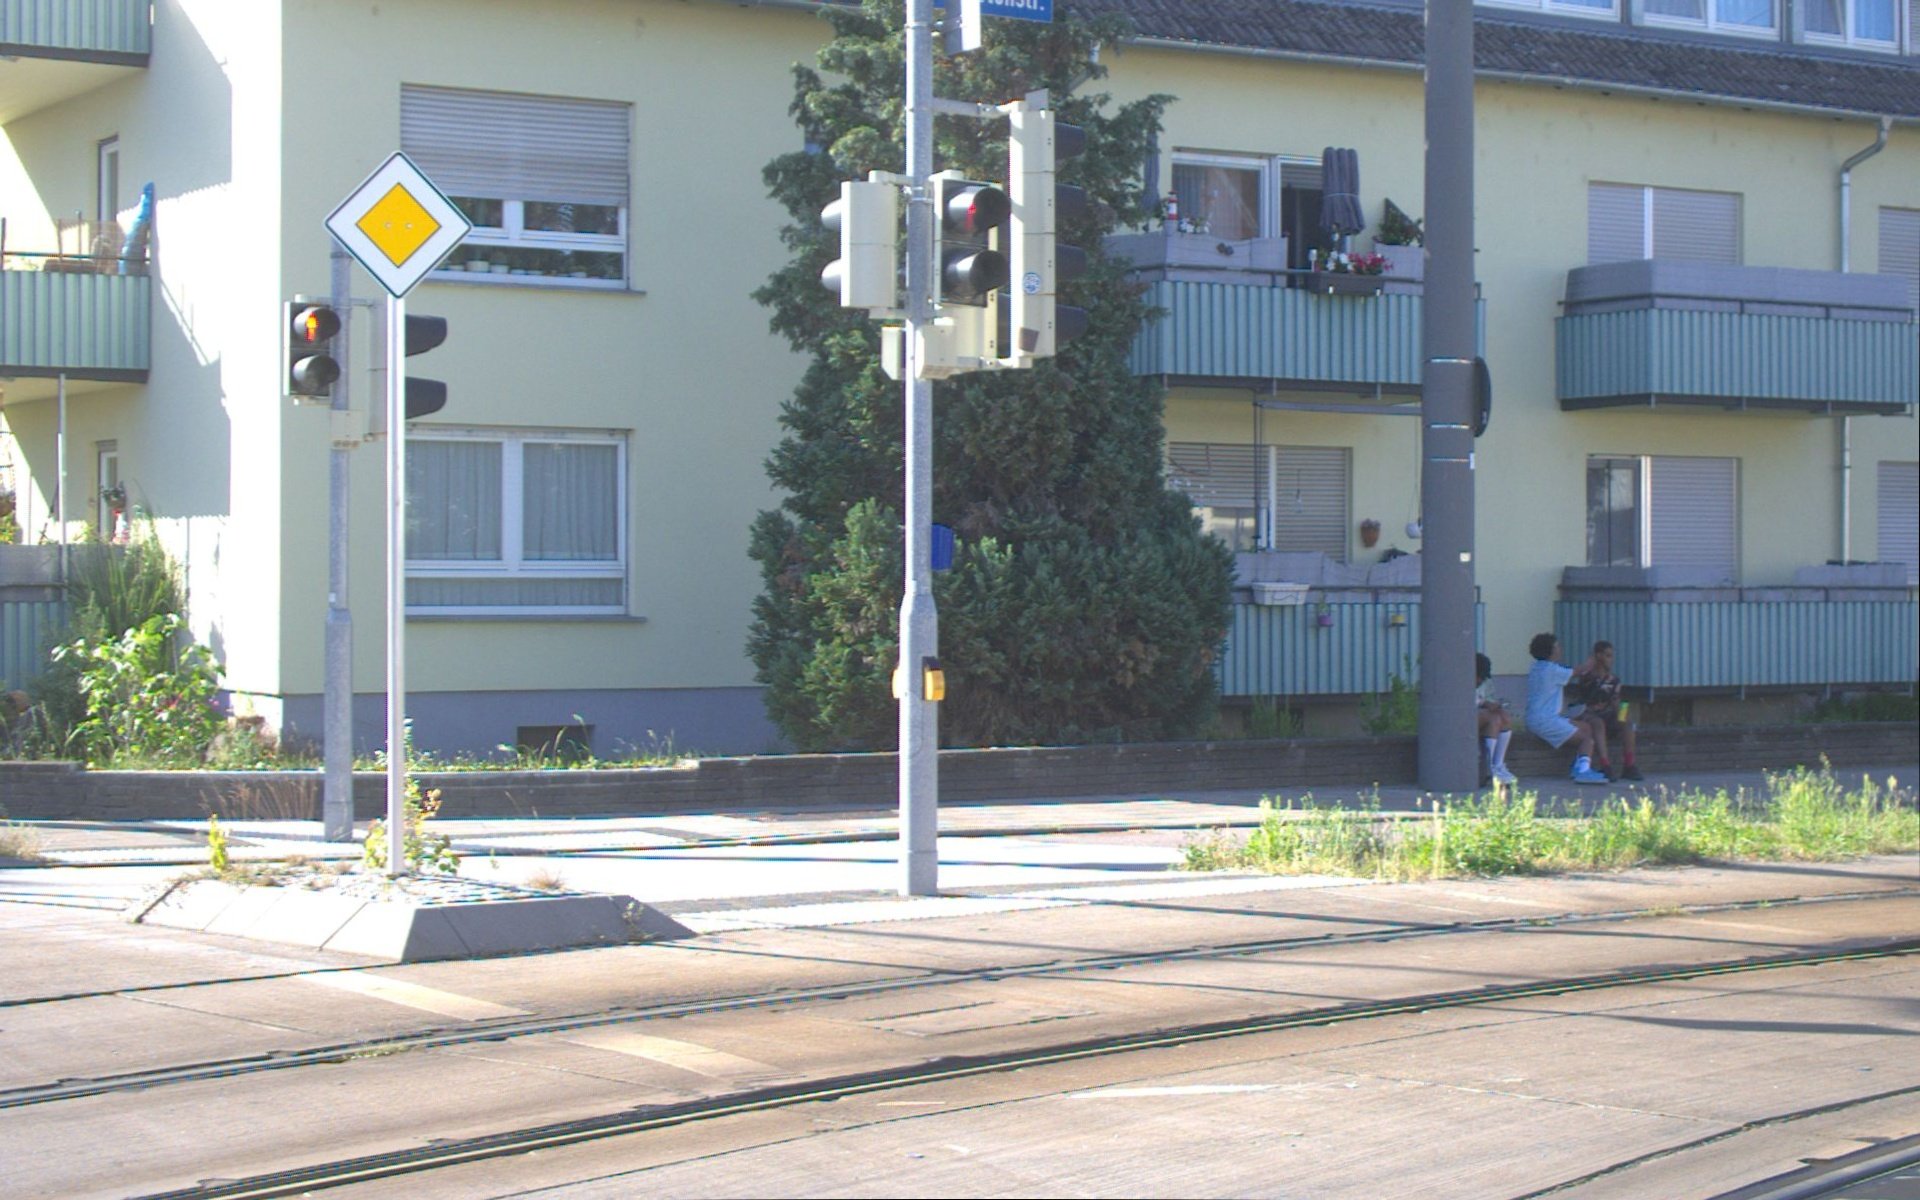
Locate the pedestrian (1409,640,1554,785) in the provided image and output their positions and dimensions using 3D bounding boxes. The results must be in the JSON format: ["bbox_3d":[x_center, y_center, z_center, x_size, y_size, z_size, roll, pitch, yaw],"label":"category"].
[{"bbox_3d":[3.905,0.833,25.772,0.685,1.043,0.820,1,0,-33],"label":"pedestrian"}]

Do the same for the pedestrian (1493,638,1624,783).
[{"bbox_3d":[4.581,0.838,26.307,0.818,1.061,0.626,1,-1,26],"label":"pedestrian"}]

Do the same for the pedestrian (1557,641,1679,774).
[{"bbox_3d":[5.125,0.833,26.776,0.723,1.002,0.594,1,-1,35],"label":"pedestrian"}]
